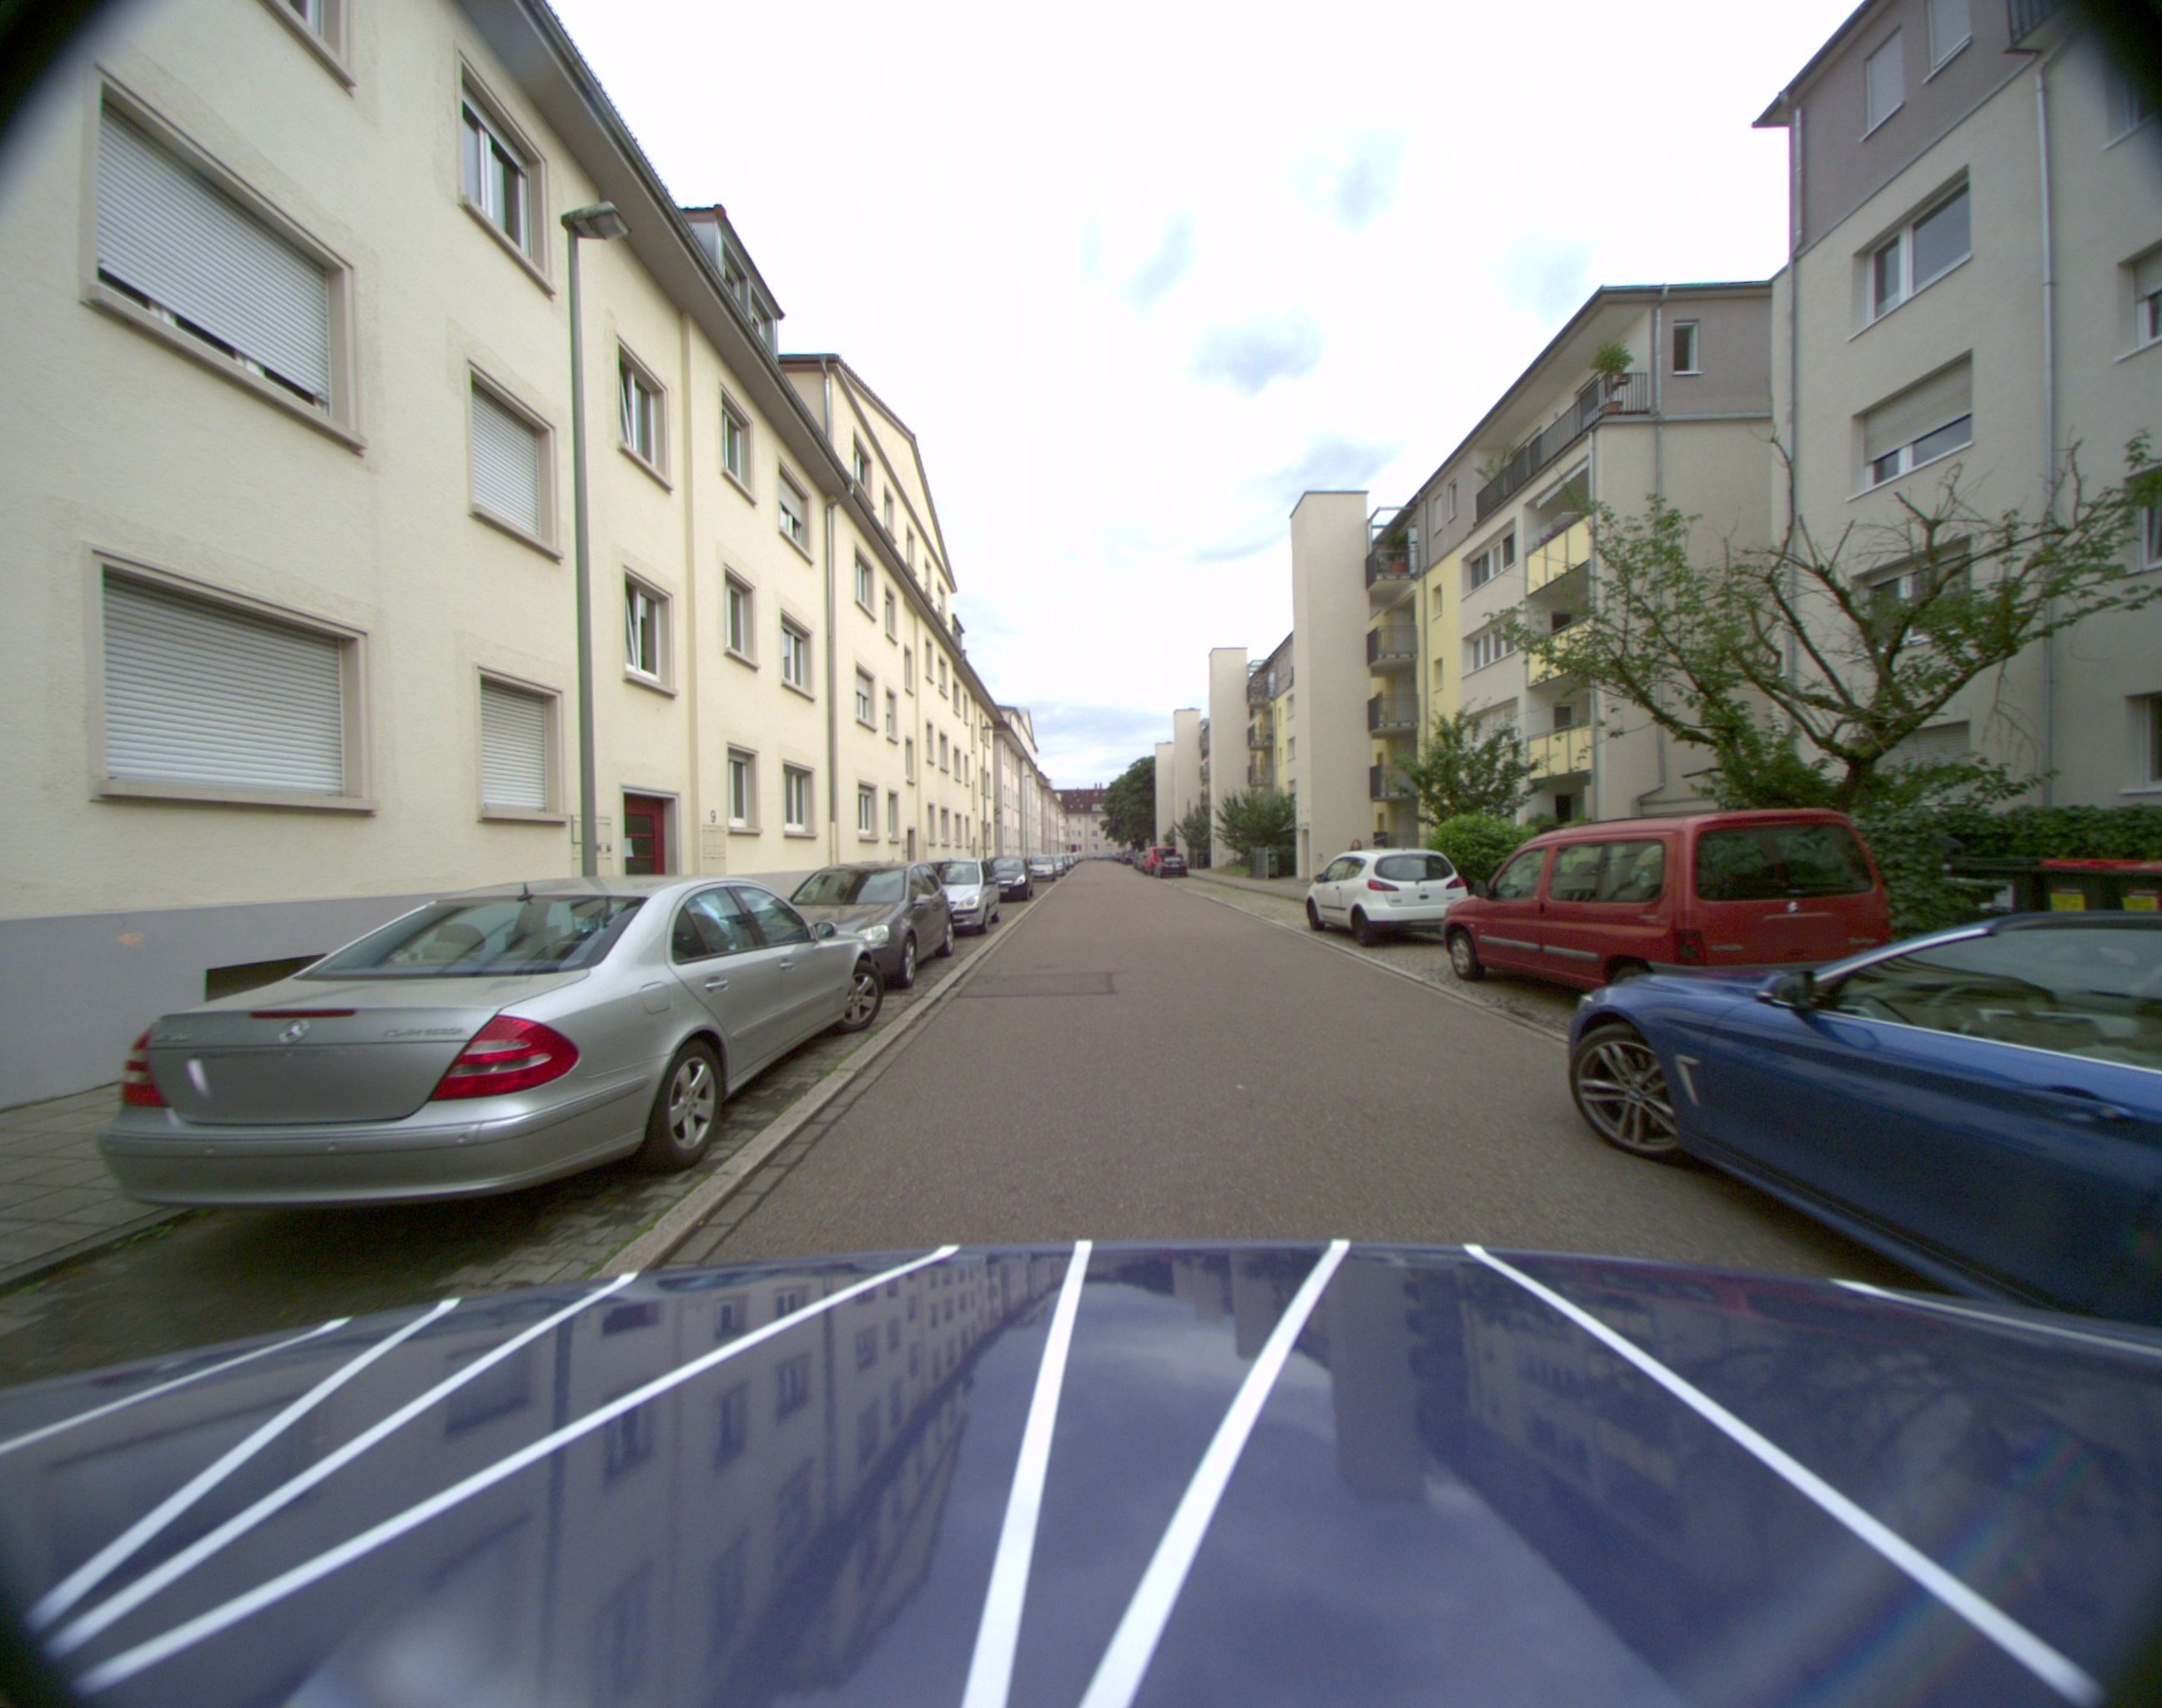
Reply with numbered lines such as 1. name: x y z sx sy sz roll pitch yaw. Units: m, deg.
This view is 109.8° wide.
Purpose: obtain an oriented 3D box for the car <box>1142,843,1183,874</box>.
1. car: 5.722 0.300 53.829 2.157 1.942 4.920 -3 0 -1

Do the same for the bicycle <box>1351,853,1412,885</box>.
1. bicycle: 10.985 0.544 27.817 2.029 1.135 0.622 -1 1 -9

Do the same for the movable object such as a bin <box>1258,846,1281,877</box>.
1. movable object such as a bin: 9.057 0.345 36.570 0.805 1.421 1.288 -2 1 5

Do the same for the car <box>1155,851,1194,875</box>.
1. car: 5.790 0.539 47.558 1.875 1.316 4.361 -3 0 0

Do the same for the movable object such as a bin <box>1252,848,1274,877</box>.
1. movable object such as a bin: 9.075 0.407 37.957 0.805 1.421 1.288 -2 1 4

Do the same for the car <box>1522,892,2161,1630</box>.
1. car: 3.315 0.974 1.960 1.849 1.443 4.501 -2 0 2

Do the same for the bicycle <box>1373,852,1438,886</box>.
1. bicycle: 11.498 0.515 26.935 2.028 1.135 0.623 -1 1 -2

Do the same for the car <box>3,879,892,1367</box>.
1. car: -2.739 1.009 4.850 1.729 1.468 4.505 -2 0 2

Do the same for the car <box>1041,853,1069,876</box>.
1. car: -1.810 0.703 53.275 1.729 1.483 4.060 -1 0 1

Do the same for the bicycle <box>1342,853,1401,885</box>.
1. bicycle: 10.873 0.553 28.442 2.029 1.135 0.623 -1 1 -9

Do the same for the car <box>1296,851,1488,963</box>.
1. car: 5.151 0.779 13.179 1.725 1.561 3.870 -3 0 1

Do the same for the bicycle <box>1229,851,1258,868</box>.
1. bicycle: 11.311 0.364 52.985 1.839 1.112 0.605 -2 1 0

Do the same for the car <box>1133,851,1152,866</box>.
1. car: 6.114 0.434 75.745 1.647 1.430 3.856 -3 0 1

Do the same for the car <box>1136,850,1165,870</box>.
1. car: 5.820 0.470 64.407 1.839 1.561 4.860 -3 0 -1

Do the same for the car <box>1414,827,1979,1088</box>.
1. car: 5.282 0.711 7.501 1.962 1.760 4.361 -2 0 -1

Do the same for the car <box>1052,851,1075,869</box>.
1. car: -1.546 0.505 68.383 1.729 1.460 4.264 -2 1 2

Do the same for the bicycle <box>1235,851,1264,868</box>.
1. bicycle: 11.601 0.385 52.308 1.839 1.112 0.570 -1 1 3

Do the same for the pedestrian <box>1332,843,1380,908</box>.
1. pedestrian: 6.981 0.521 19.326 0.802 1.600 0.946 -1 1 -3

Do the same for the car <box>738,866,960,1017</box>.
1. car: -2.755 0.959 9.960 1.607 1.468 3.869 -2 0 1

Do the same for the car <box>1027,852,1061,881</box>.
1. car: -2.036 0.651 42.969 1.729 1.508 4.060 -1 0 0

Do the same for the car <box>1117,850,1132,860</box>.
1. car: 6.936 0.167 121.409 1.919 1.431 4.434 -3 0 -1

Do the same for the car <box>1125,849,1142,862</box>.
1. car: 6.424 0.171 93.837 1.804 1.617 4.472 -2 0 1

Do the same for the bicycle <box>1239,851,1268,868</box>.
1. bicycle: 11.639 0.392 51.331 1.838 1.112 0.570 -1 1 7

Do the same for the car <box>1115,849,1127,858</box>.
1. car: 7.386 -0.048 141.279 2.000 1.566 4.209 -3 0 1

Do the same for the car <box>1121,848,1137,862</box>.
1. car: 6.696 0.086 105.845 1.891 1.844 4.785 -1 0 0

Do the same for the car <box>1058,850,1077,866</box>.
1. car: -1.405 0.384 81.318 1.788 1.590 3.805 -2 0 2

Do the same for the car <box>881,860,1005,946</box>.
1. car: -2.678 0.900 15.612 1.853 1.441 3.832 -1 0 -1

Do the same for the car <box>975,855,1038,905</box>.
1. car: -2.447 0.820 25.722 1.729 1.508 4.060 -1 0 0

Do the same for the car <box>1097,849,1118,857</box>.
1. car: 5.773 -0.249 164.109 4.545 1.551 1.565 -1 1 5
